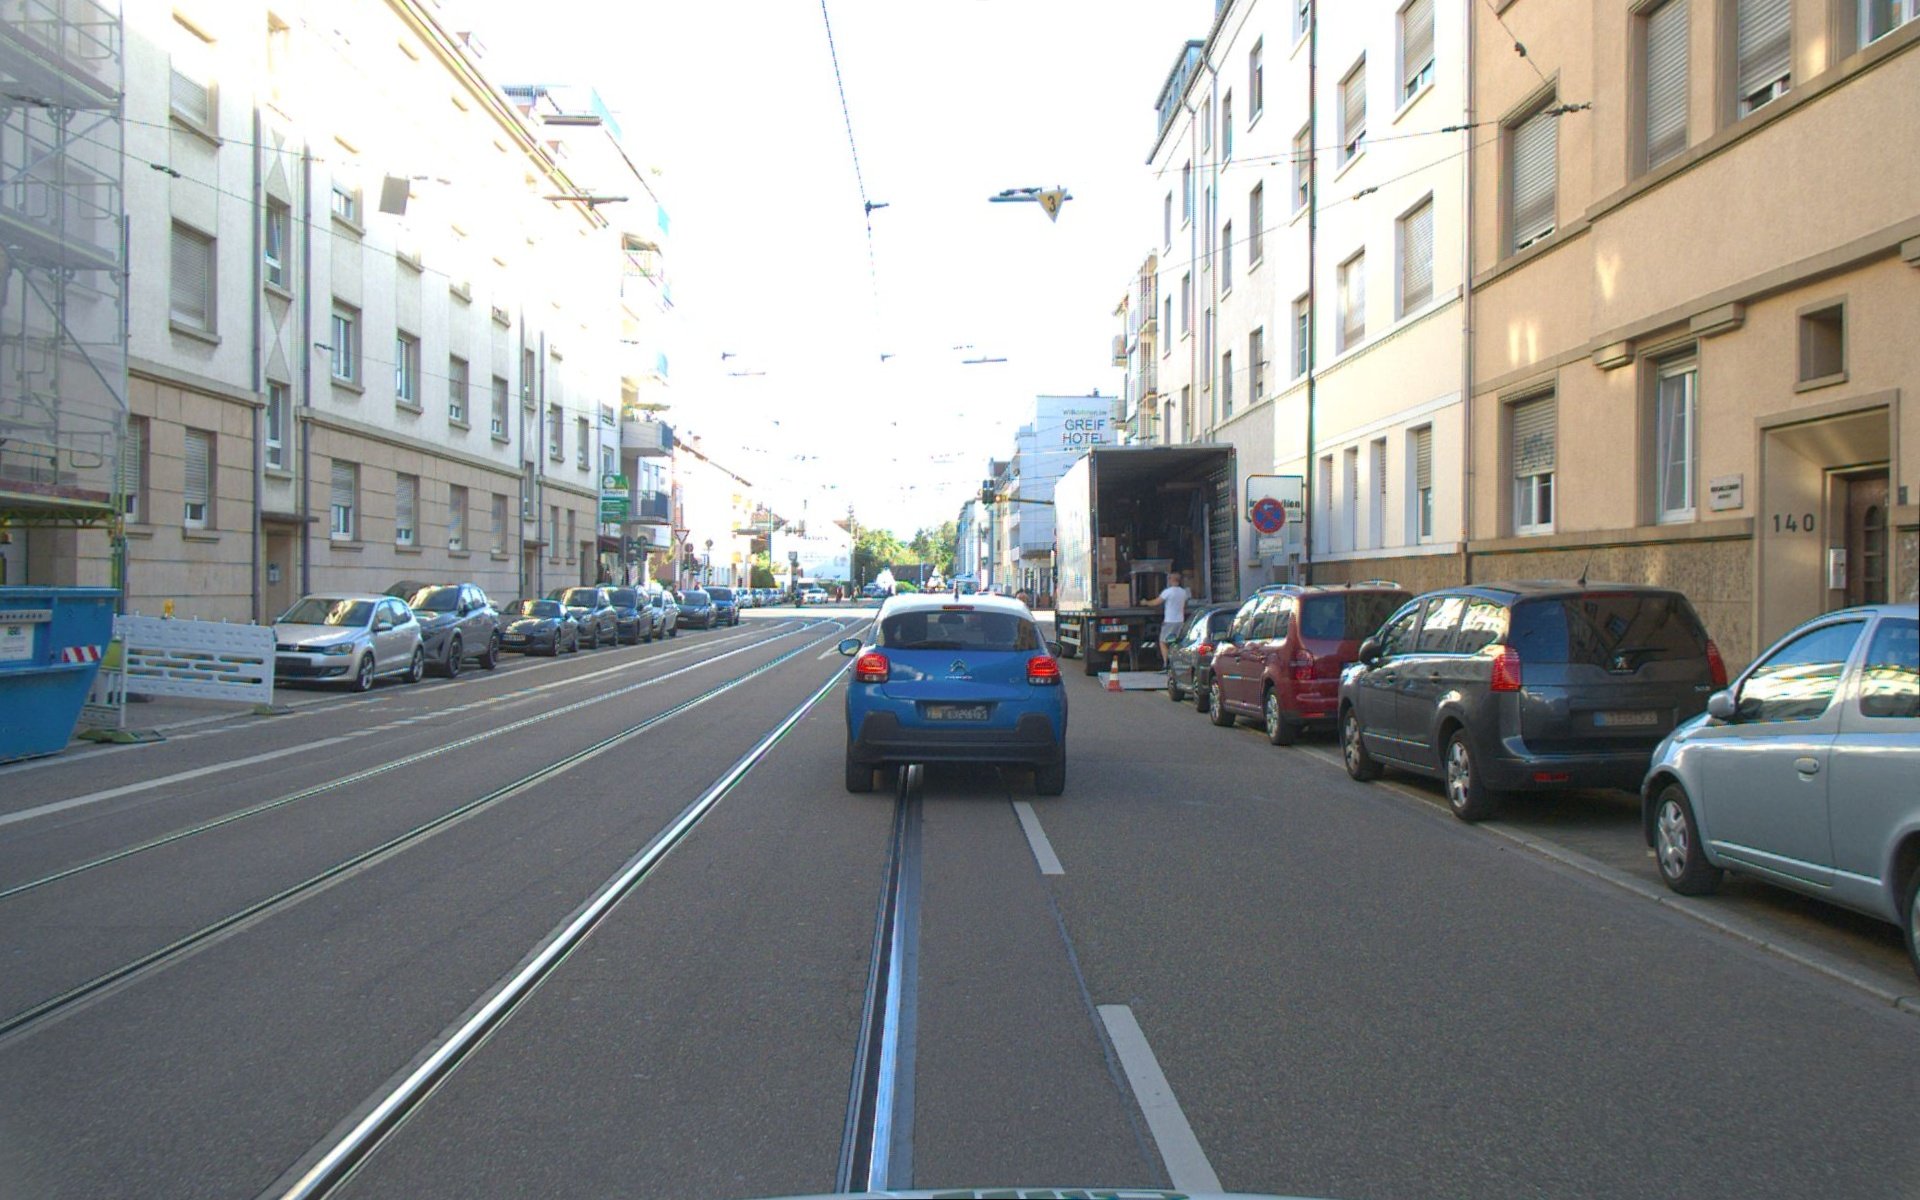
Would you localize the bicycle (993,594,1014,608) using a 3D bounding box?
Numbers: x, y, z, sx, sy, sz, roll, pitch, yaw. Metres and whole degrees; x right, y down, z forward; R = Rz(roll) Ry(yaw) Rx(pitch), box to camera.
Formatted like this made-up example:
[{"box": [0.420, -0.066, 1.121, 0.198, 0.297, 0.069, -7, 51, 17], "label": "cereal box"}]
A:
[{"box": [3.154, 0.062, 119.897, 1.472, 0.973, 0.702, 0, 0, 3], "label": "bicycle"}]

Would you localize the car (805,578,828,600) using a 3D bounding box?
[{"box": [-15.253, -1.183, 175.754, 2.162, 2.290, 4.675, 0, 0, -2], "label": "car"}]

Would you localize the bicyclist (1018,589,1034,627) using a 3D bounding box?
[{"box": [2.969, 0.341, 74.155, 0.711, 1.674, 0.790, 0, 0, 2], "label": "bicyclist"}]

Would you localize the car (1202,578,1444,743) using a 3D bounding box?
[{"box": [3.969, 0.589, 18.779, 1.560, 1.637, 4.244, -1, 0, -4], "label": "car"}]

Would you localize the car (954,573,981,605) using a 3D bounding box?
[{"box": [0.579, -0.859, 126.443, 1.953, 2.366, 3.999, 1, 0, -1], "label": "car"}]

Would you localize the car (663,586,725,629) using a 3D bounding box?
[{"box": [-10.206, 0.292, 63.712, 1.665, 1.536, 4.311, 2, 0, -1], "label": "car"}]

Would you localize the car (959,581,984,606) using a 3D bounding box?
[{"box": [0.834, -0.493, 121.514, 1.697, 1.780, 3.213, 1, 0, -1], "label": "car"}]

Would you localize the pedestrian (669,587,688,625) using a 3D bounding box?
[{"box": [-11.807, 0.246, 69.393, 0.683, 1.575, 0.721, 0, 1, 2], "label": "pedestrian"}]

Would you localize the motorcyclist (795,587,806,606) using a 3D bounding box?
[{"box": [-11.736, -0.282, 121.549, 0.704, 1.402, 0.912, 0, 0, 2], "label": "motorcyclist"}]

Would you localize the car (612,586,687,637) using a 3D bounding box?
[{"box": [-10.071, 0.368, 53.861, 1.665, 1.536, 4.385, 2, 0, -2], "label": "car"}]

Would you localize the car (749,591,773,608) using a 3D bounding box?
[{"box": [-18.325, -0.036, 152.353, 1.872, 1.523, 3.999, 0, 0, -2], "label": "car"}]

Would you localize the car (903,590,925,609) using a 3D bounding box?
[{"box": [-4.125, -0.074, 148.873, 1.953, 1.646, 3.999, 1, 0, -1], "label": "car"}]

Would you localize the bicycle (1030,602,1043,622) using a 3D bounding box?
[{"box": [3.440, 0.523, 74.055, 0.488, 0.879, 1.749, 0, 0, 0], "label": "bicycle"}]

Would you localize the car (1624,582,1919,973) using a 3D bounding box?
[{"box": [4.491, 0.677, 7.449, 1.576, 1.488, 3.479, -1, 0, 0], "label": "car"}]

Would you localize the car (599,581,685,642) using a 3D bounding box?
[{"box": [-9.250, 0.338, 48.389, 1.665, 1.643, 4.243, 2, 0, -1], "label": "car"}]

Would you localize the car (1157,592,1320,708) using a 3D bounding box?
[{"box": [3.911, 0.647, 23.791, 1.550, 1.489, 3.879, -1, 0, -2], "label": "car"}]

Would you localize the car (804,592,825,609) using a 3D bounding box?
[{"box": [-14.317, 0.022, 162.927, 1.813, 1.601, 4.398, 1, 0, -3], "label": "car"}]

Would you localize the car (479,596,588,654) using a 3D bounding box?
[{"box": [-9.919, 0.558, 38.687, 1.665, 1.237, 3.784, 2, 0, -2], "label": "car"}]

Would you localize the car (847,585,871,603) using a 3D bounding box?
[{"box": [-8.977, -0.567, 146.568, 1.953, 1.534, 3.999, 0, 0, -1], "label": "car"}]

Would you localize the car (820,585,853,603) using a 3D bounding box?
[{"box": [-11.839, -0.579, 158.443, 1.788, 1.668, 3.963, 0, 0, -28], "label": "car"}]

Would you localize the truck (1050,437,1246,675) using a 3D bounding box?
[{"box": [3.592, -0.823, 34.691, 2.801, 4.144, 11.779, 0, 0, 0], "label": "truck"}]

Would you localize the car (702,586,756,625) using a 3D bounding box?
[{"box": [-9.774, 0.232, 70.225, 1.709, 1.536, 3.999, 2, 0, -1], "label": "car"}]

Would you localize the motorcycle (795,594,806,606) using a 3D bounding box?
[{"box": [-11.742, 0.009, 121.705, 0.603, 0.879, 1.671, 0, 0, 2], "label": "motorcycle"}]

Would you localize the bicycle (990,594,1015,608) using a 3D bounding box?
[{"box": [3.100, 0.058, 120.960, 1.834, 0.973, 0.702, 0, 0, 3], "label": "bicycle"}]

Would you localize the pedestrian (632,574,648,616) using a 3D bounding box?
[{"box": [-15.453, -0.242, 79.887, 0.673, 2.049, 0.486, 0, 0, -4], "label": "pedestrian"}]

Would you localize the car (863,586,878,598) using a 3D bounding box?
[{"box": [-12.147, -1.054, 223.944, 1.980, 1.552, 3.999, 0, 0, -2], "label": "car"}]

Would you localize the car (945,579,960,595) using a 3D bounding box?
[{"box": [-0.812, -1.457, 185.434, 1.654, 1.646, 4.000, 1, 0, 0], "label": "car"}]

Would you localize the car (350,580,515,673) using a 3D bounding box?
[{"box": [-9.633, 0.437, 30.550, 1.664, 1.595, 4.405, 0, 0, -1], "label": "car"}]

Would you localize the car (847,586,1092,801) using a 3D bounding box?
[{"box": [-0.063, 0.651, 13.761, 1.709, 1.488, 3.997, 2, 0, -4], "label": "car"}]

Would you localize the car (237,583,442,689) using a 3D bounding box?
[{"box": [-9.602, 0.529, 25.933, 1.665, 1.440, 3.999, 3, 0, -1], "label": "car"}]

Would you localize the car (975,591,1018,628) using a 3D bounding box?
[{"box": [1.516, 0.370, 67.244, 1.702, 1.445, 4.001, 1, 0, 2], "label": "car"}]

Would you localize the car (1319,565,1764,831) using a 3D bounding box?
[{"box": [4.244, 0.610, 12.881, 1.754, 1.680, 4.364, -1, 0, -3], "label": "car"}]

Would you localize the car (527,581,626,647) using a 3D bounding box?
[{"box": [-10.011, 0.362, 43.461, 1.665, 1.596, 3.999, 2, 0, -1], "label": "car"}]

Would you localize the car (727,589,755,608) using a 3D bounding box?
[{"box": [-17.723, -0.146, 133.823, 1.872, 1.523, 3.999, 0, 0, -2], "label": "car"}]

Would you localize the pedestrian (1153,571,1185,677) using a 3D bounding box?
[{"box": [3.626, 0.411, 28.689, 0.502, 1.806, 0.415, 0, 0, -1], "label": "pedestrian"}]
